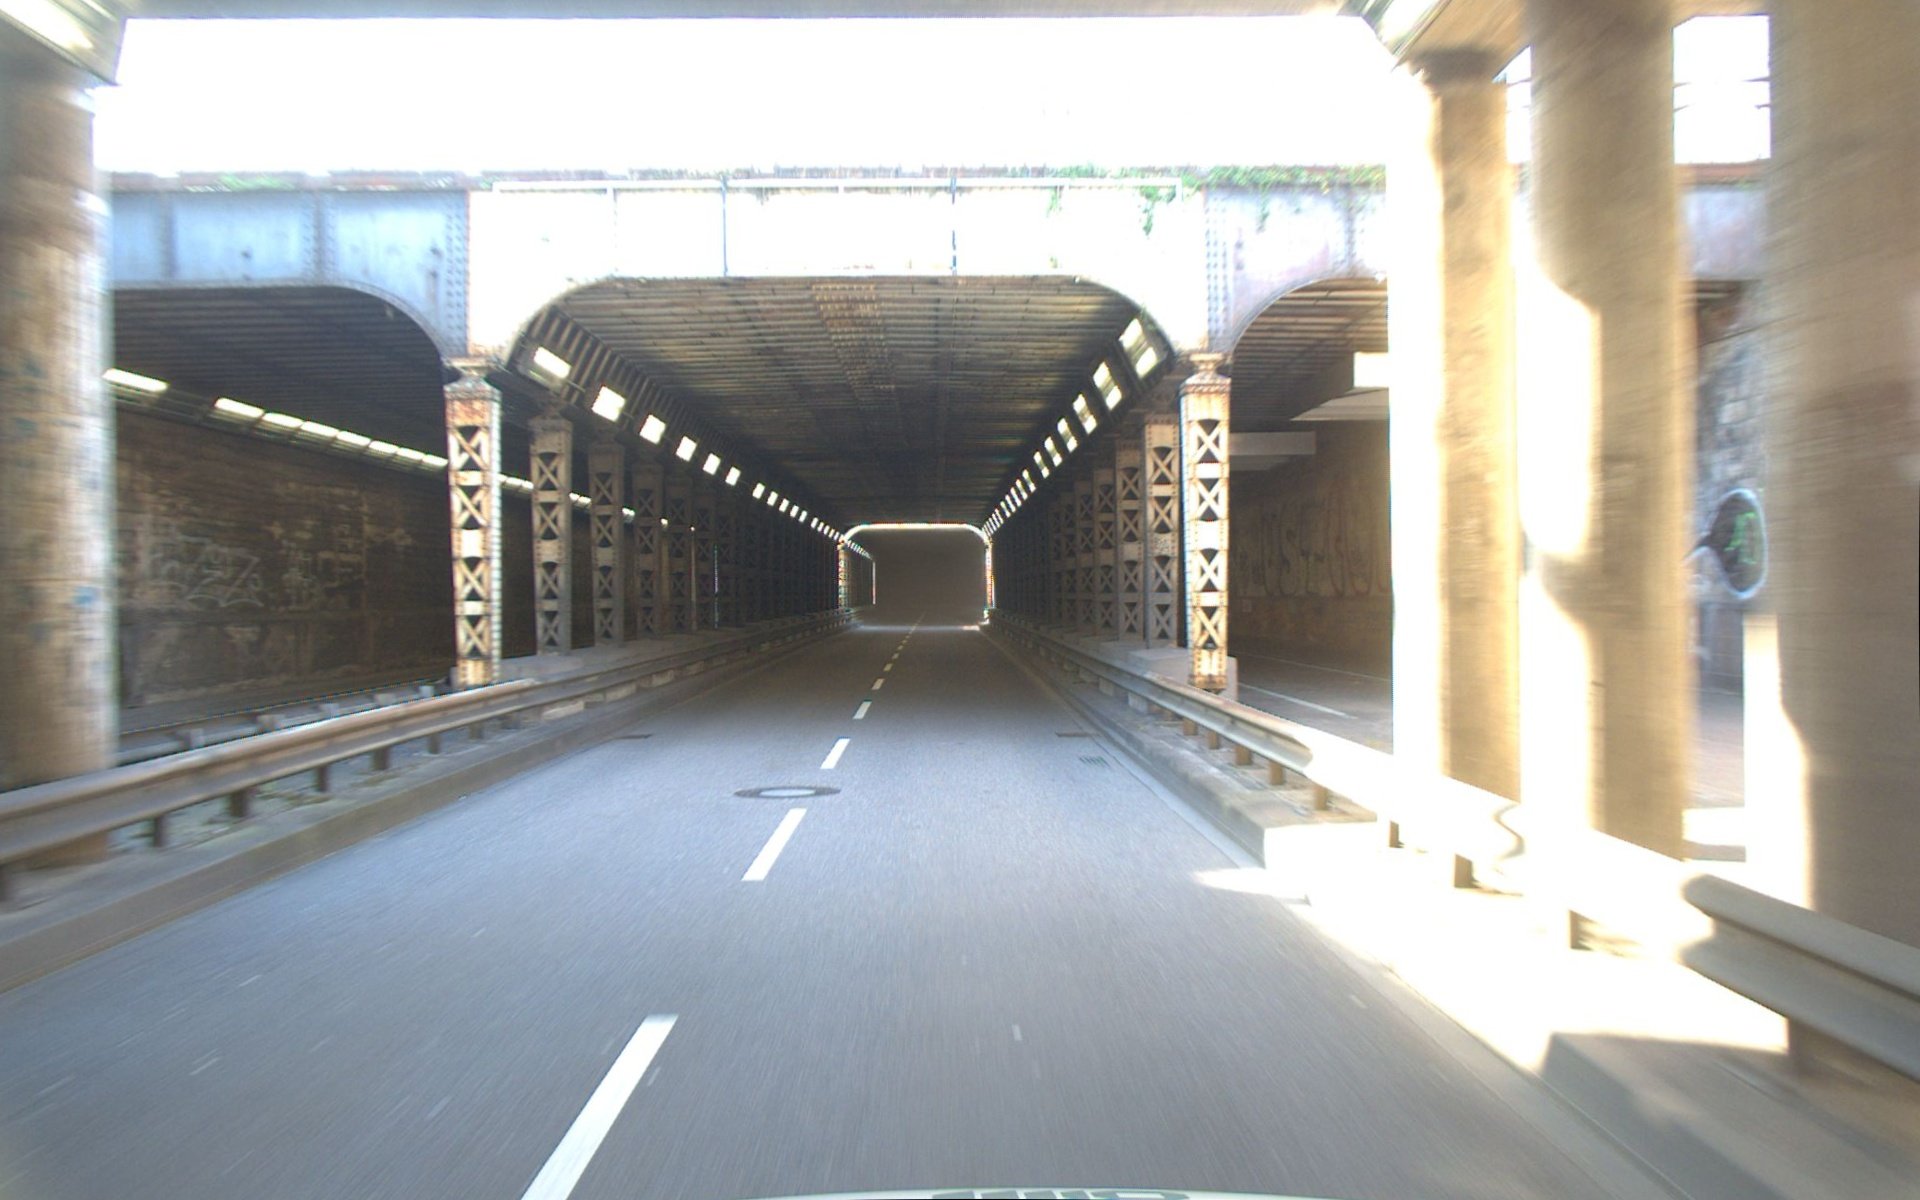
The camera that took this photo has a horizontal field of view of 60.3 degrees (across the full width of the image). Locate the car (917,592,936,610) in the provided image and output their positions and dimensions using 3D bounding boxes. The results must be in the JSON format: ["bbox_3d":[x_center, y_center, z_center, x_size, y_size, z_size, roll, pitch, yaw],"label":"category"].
[{"bbox_3d":[-3.491,0.050,171.348,1.953,1.815,3.999,-1,0,-1],"label":"car"}]

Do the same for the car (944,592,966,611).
[{"bbox_3d":[-0.471,0.141,155.590,1.953,1.815,3.999,-1,0,-1],"label":"car"}]

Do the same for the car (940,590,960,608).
[{"bbox_3d":[-1.027,-0.091,164.811,1.953,1.815,3.999,-1,0,-1],"label":"car"}]
